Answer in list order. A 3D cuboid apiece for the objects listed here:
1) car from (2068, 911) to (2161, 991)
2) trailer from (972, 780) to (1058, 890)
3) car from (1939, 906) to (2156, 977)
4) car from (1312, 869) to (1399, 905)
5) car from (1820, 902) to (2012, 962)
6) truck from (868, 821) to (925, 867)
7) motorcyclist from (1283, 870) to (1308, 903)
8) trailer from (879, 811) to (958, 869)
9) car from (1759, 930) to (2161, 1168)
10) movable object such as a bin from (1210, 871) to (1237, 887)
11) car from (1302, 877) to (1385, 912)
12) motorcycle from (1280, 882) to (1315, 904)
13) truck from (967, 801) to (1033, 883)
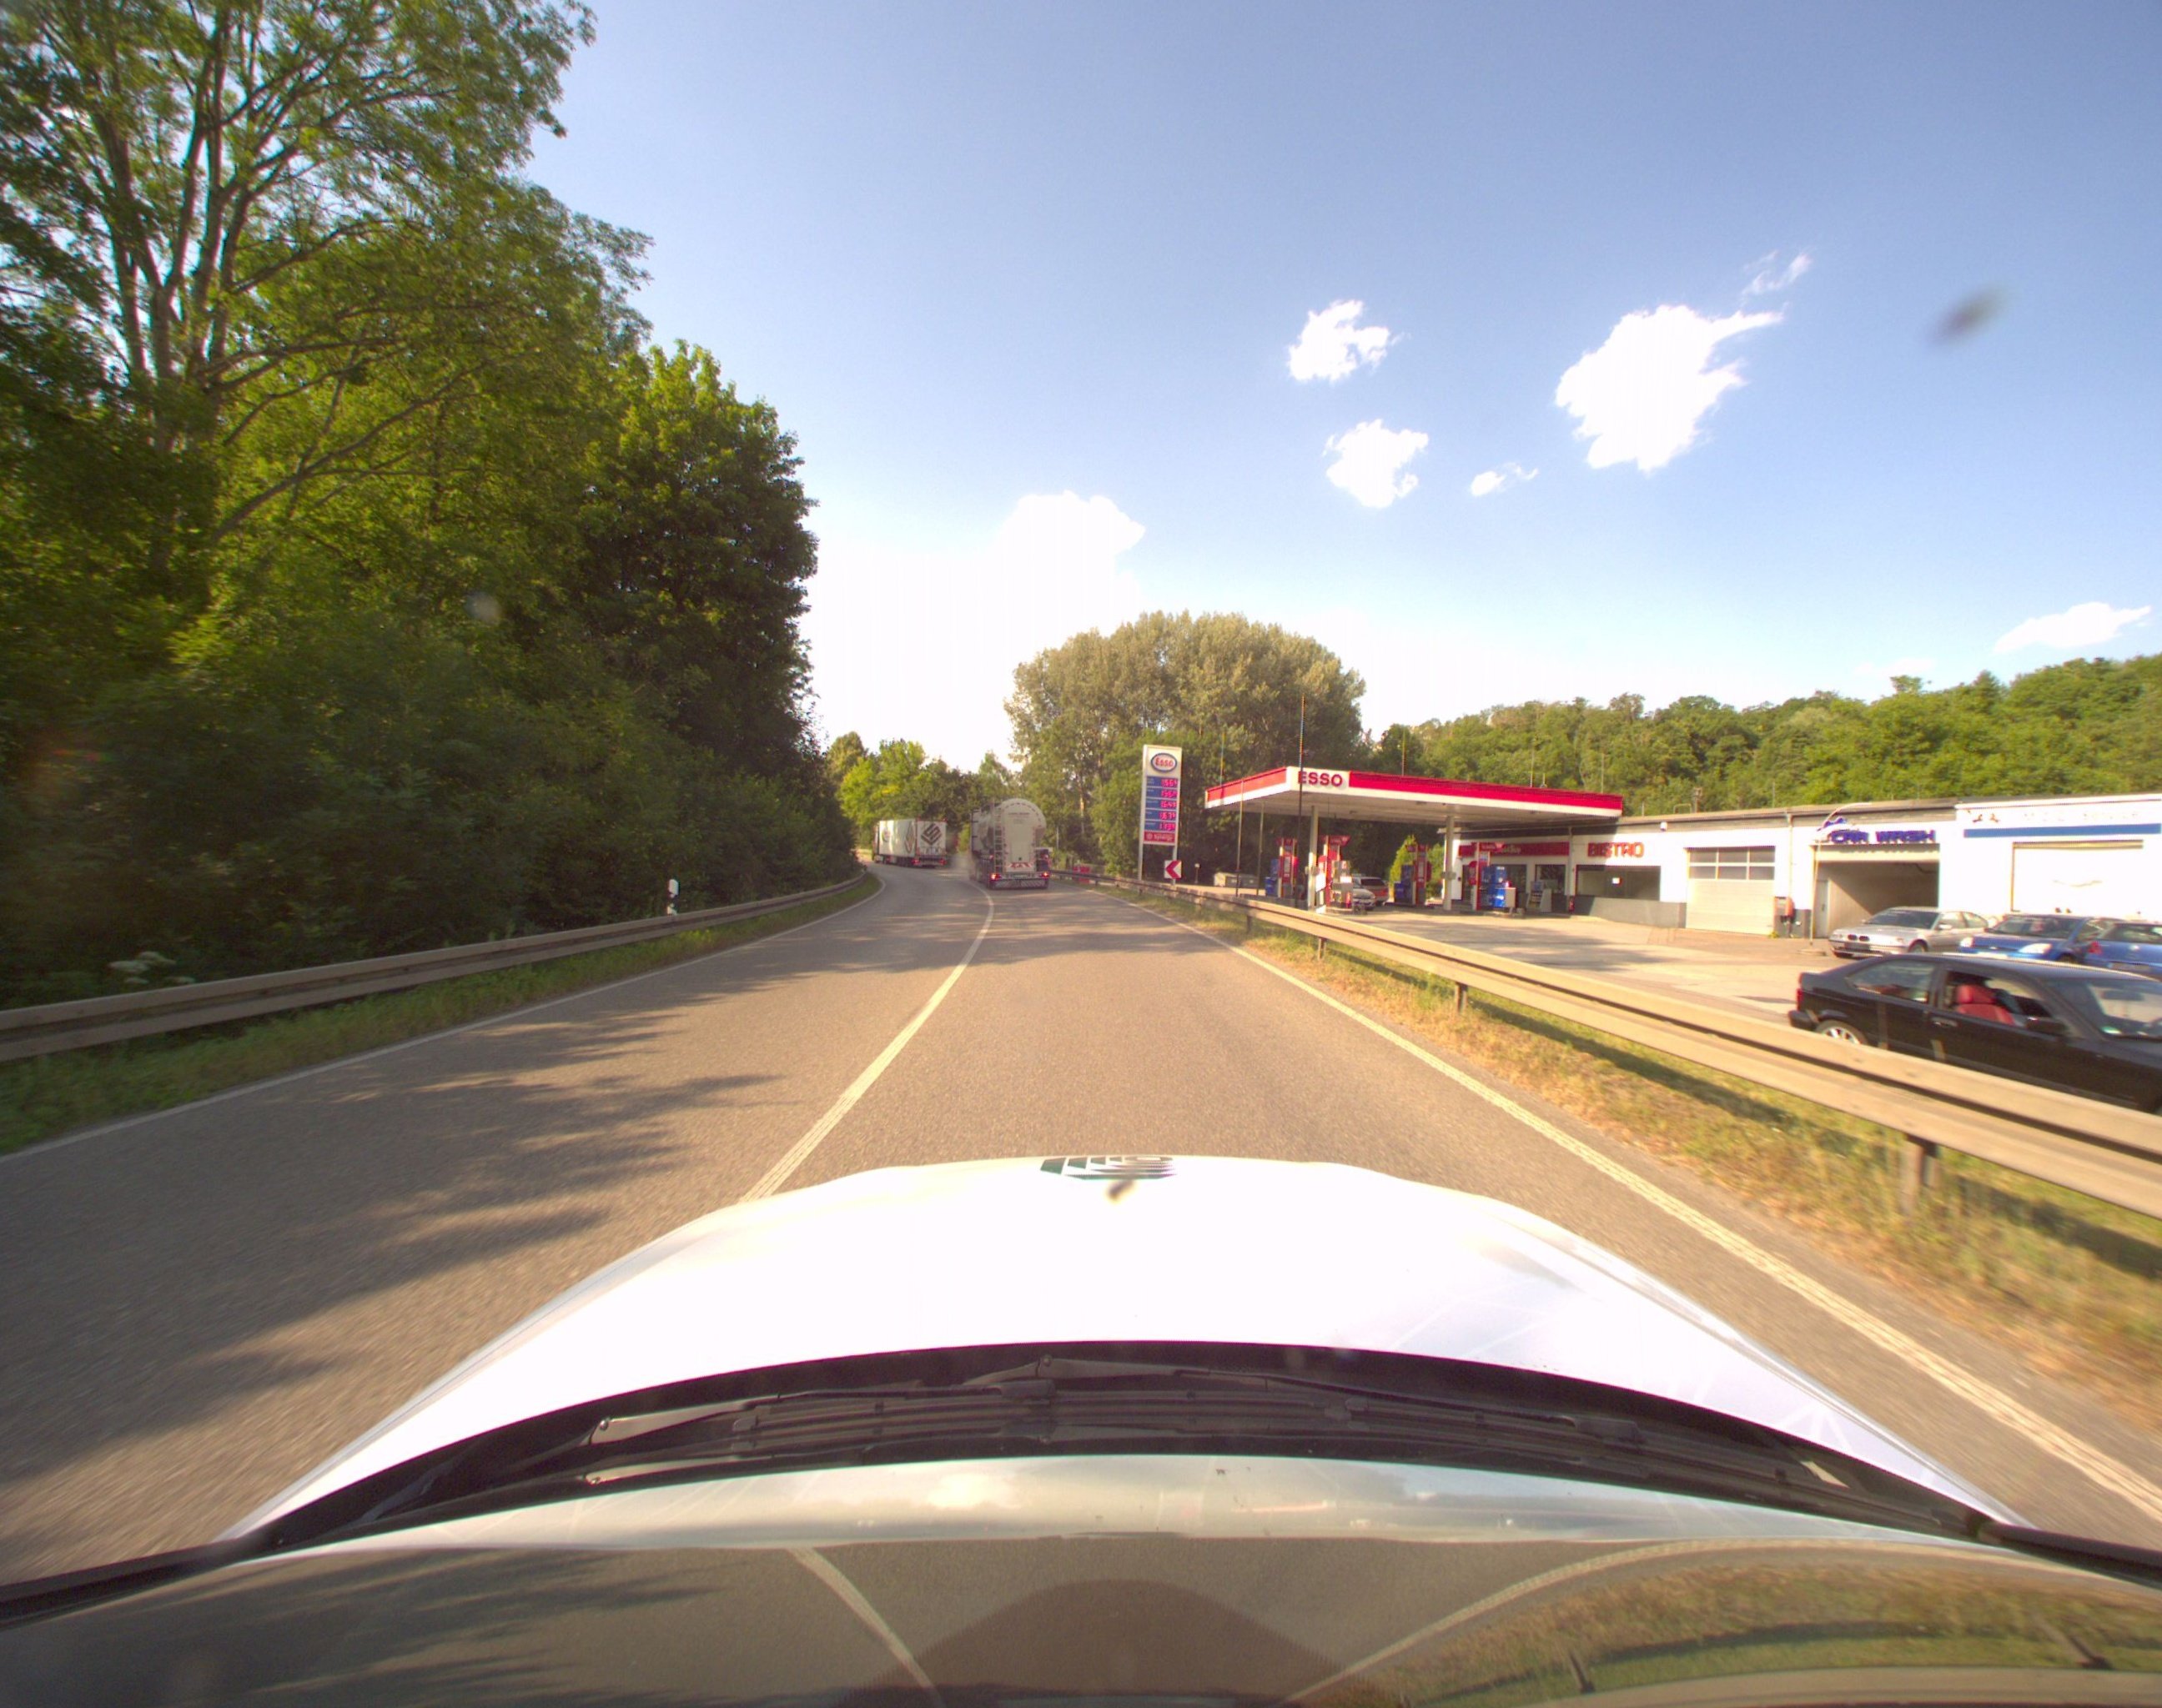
[{"bbox_3d":[22.583,1.985,16.534,3.544,1.445,1.728,2,-1,-10],"label":"car"},{"bbox_3d":[-3.307,-0.777,37.948,2.888,4.454,9.567,0,0,-12],"label":"trailer"},{"bbox_3d":[22.142,1.995,18.717,3.550,1.406,1.685,2,0,-10],"label":"car"},{"bbox_3d":[14.304,1.694,42.803,2.093,1.628,5.161,2,0,-11],"label":"car"},{"bbox_3d":[21.710,1.981,21.213,3.962,1.354,1.768,1,0,-14],"label":"car"},{"bbox_3d":[-17.476,-0.941,76.926,3.471,4.086,6.430,2,0,-29],"label":"truck"},{"bbox_3d":[10.867,1.638,41.326,0.858,1.605,0.924,3,-1,-10],"label":"motorcyclist"},{"bbox_3d":[-14.335,-1.175,70.606,3.563,4.513,12.877,2,0,-25],"label":"trailer"},{"bbox_3d":[8.533,1.553,7.023,1.818,1.352,4.271,1,0,0],"label":"car"},{"bbox_3d":[14.025,2.486,80.235,1.271,1.420,2.537,5,-2,-24],"label":"movable object such as a bin"},{"bbox_3d":[12.086,1.836,37.761,1.842,1.319,4.375,2,0,-9],"label":"car"},{"bbox_3d":[10.889,1.945,41.084,0.762,1.012,2.333,2,0,-10],"label":"motorcycle"},{"bbox_3d":[-4.381,-0.623,43.007,2.826,4.034,5.870,-1,0,-12],"label":"truck"}]
